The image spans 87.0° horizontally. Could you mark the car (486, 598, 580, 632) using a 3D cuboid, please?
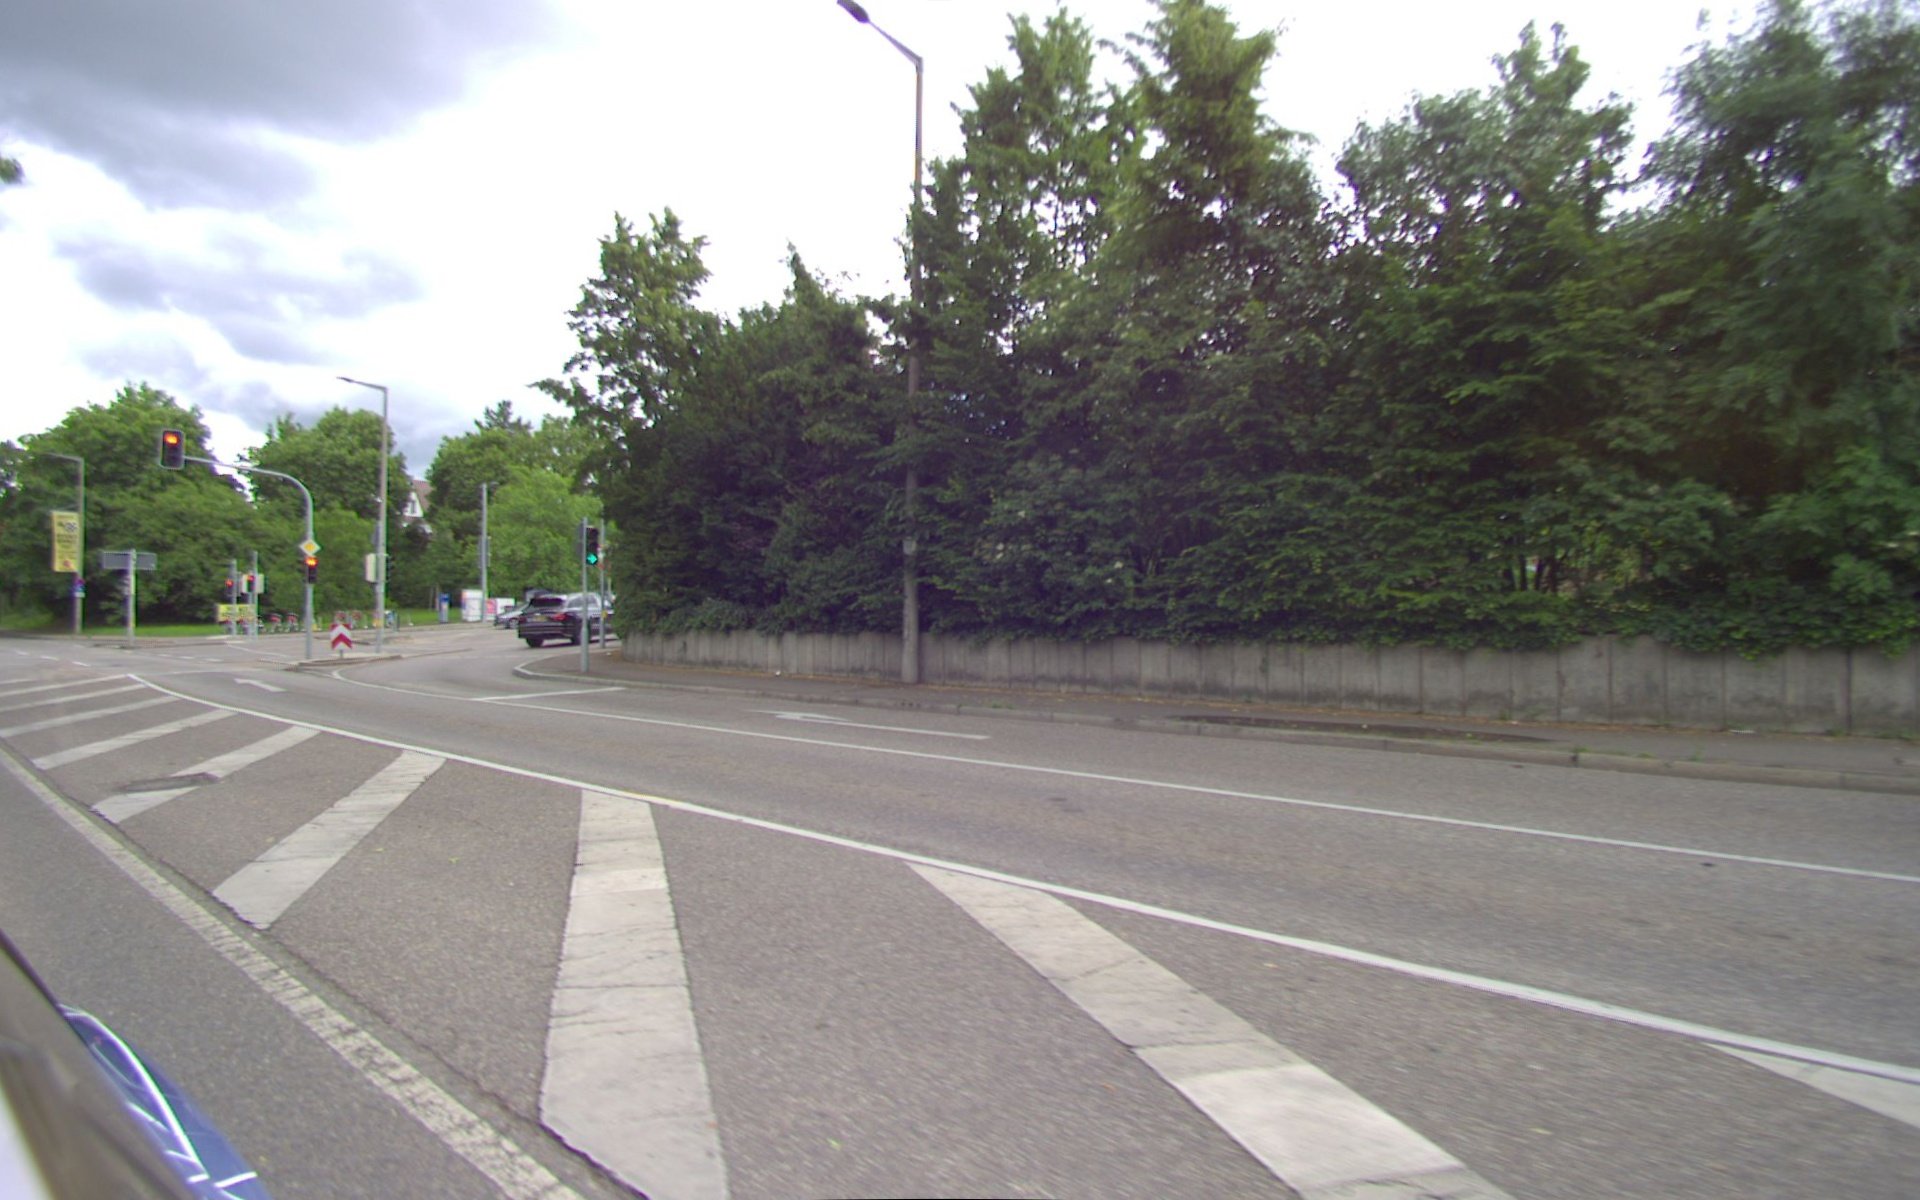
[{"bbox_3d":[-24.967,0.847,59.264,4.675,1.867,2.002,-2,1,-44],"label":"car"}]

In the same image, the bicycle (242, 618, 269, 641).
[{"bbox_3d":[-41.327,1.723,59.368,0.537,1.262,1.940,-1,1,-11],"label":"bicycle"}]

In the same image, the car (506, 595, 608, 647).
[{"bbox_3d":[-13.982,0.724,35.448,1.879,1.691,5.085,0,-1,-4],"label":"car"}]

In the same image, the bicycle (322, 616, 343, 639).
[{"bbox_3d":[-37.625,1.649,60.718,0.536,1.262,1.941,-1,1,-15],"label":"bicycle"}]

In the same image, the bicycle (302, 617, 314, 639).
[{"bbox_3d":[-38.754,1.673,60.188,0.536,1.262,1.941,-1,1,-32],"label":"bicycle"}]

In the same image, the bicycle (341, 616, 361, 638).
[{"bbox_3d":[-36.791,1.631,61.132,0.536,1.262,1.941,-1,1,-15],"label":"bicycle"}]

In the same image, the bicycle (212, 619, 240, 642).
[{"bbox_3d":[-42.712,1.751,58.891,0.537,1.262,1.940,-1,1,-11],"label":"bicycle"}]

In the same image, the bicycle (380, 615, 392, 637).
[{"bbox_3d":[-35.207,1.595,62.037,0.536,1.262,1.941,-1,1,-32],"label":"bicycle"}]

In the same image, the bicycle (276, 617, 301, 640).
[{"bbox_3d":[-39.636,1.692,59.768,0.537,1.262,1.940,-1,1,-11],"label":"bicycle"}]

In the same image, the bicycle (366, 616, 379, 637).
[{"bbox_3d":[-35.833,1.609,61.715,0.536,1.262,1.942,-1,1,-26],"label":"bicycle"}]

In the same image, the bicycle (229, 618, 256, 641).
[{"bbox_3d":[-42.049,1.735,59.352,0.537,1.262,1.940,-1,0,-11],"label":"bicycle"}]

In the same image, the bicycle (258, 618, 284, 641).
[{"bbox_3d":[-40.500,1.709,59.471,0.537,1.262,1.940,-1,1,-11],"label":"bicycle"}]
